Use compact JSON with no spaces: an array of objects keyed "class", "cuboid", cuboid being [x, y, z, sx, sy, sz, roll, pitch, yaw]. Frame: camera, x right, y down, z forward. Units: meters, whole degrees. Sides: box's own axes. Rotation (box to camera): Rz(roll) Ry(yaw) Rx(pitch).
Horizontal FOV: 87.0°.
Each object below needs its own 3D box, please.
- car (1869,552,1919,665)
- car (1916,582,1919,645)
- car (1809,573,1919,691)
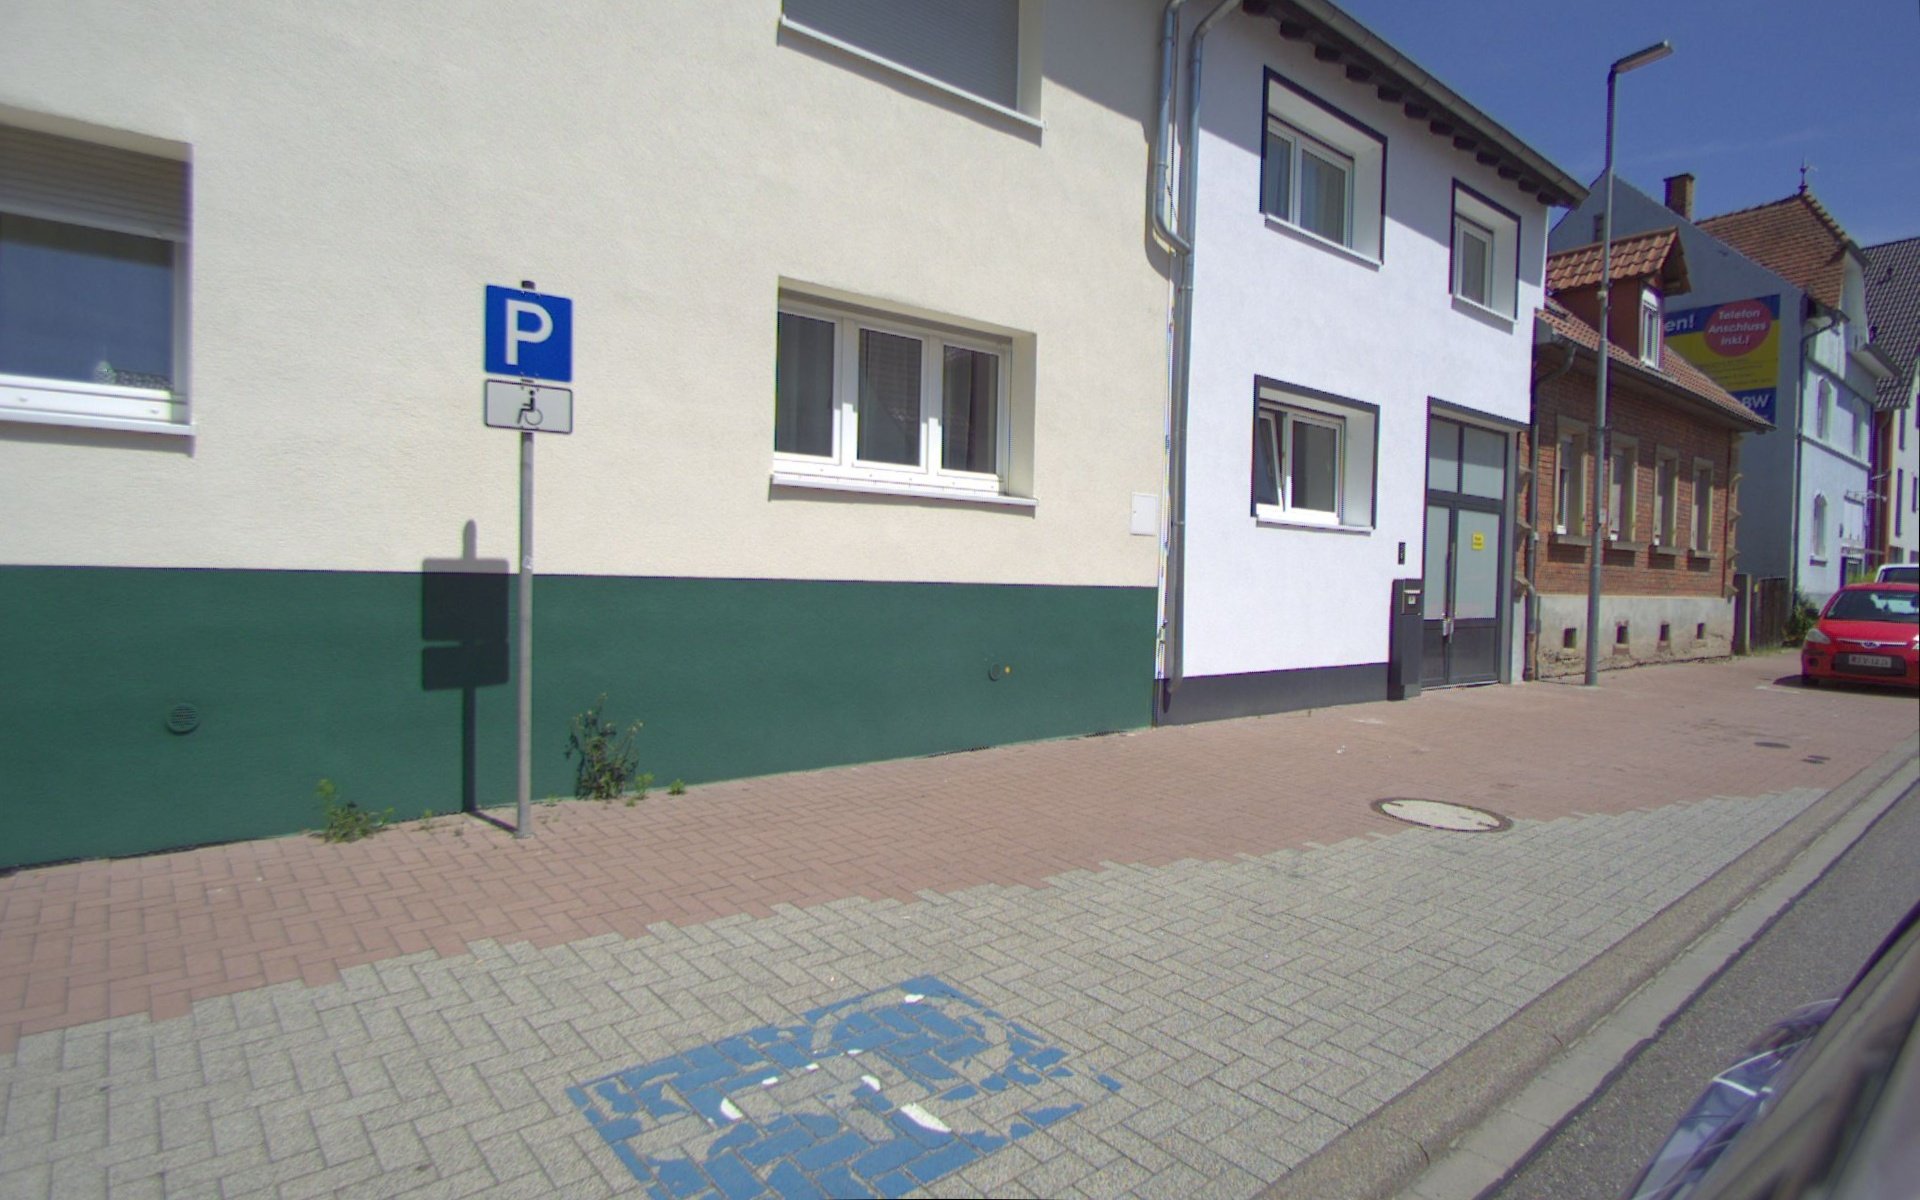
[{"class":"car","cuboid":[19.005,0.153,19.321,4.703,1.994,1.949,0,2,-42]},{"class":"car","cuboid":[25.096,0.347,24.924,4.497,1.484,1.774,0,2,-41]},{"class":"car","cuboid":[13.942,0.420,14.934,3.613,1.547,1.613,0,2,-42]}]
